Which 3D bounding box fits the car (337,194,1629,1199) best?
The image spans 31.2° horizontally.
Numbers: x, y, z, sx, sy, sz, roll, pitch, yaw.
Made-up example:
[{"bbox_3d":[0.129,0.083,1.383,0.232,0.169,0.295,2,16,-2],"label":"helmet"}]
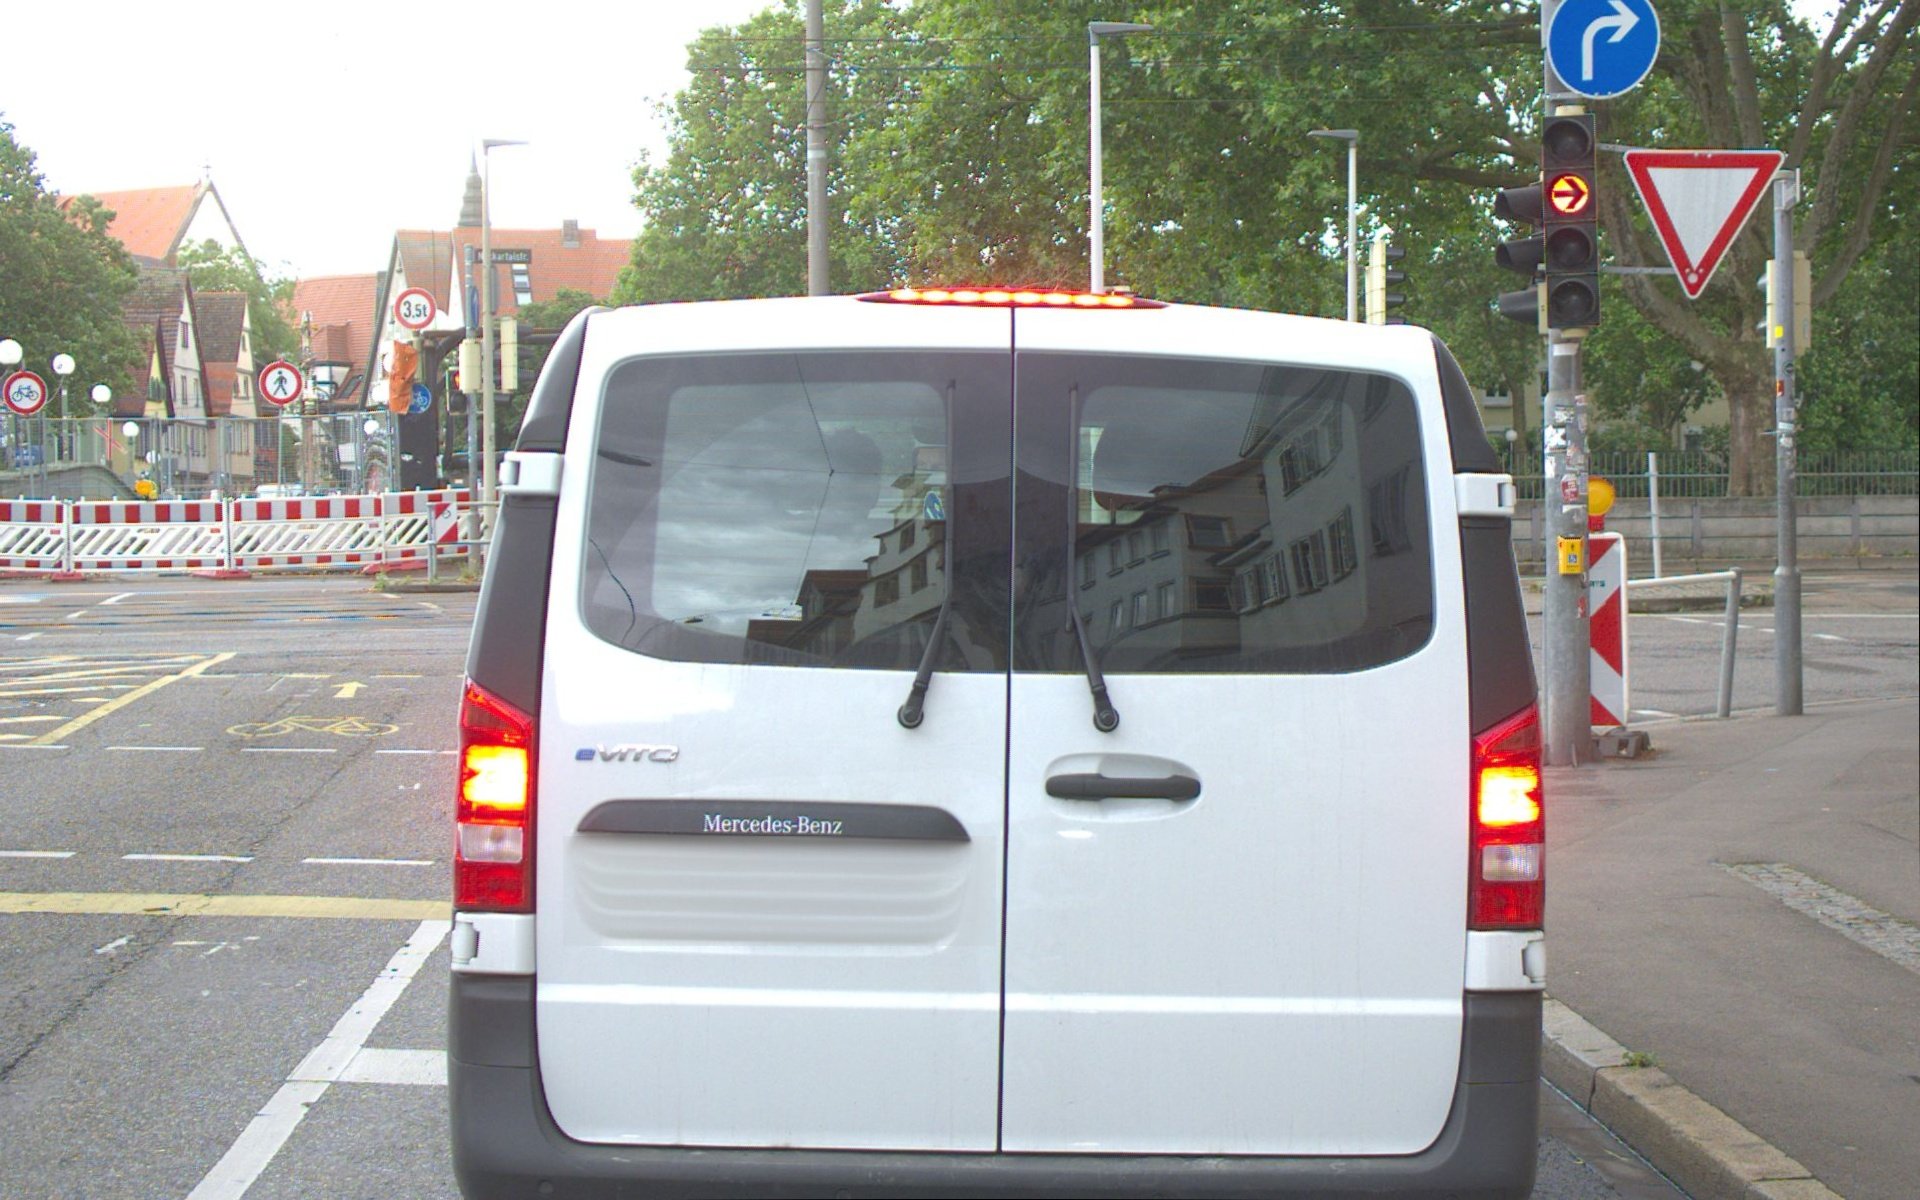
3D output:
[{"bbox_3d":[0.002,0.301,7.604,1.951,2.006,4.699,1,2,-1],"label":"car"}]
